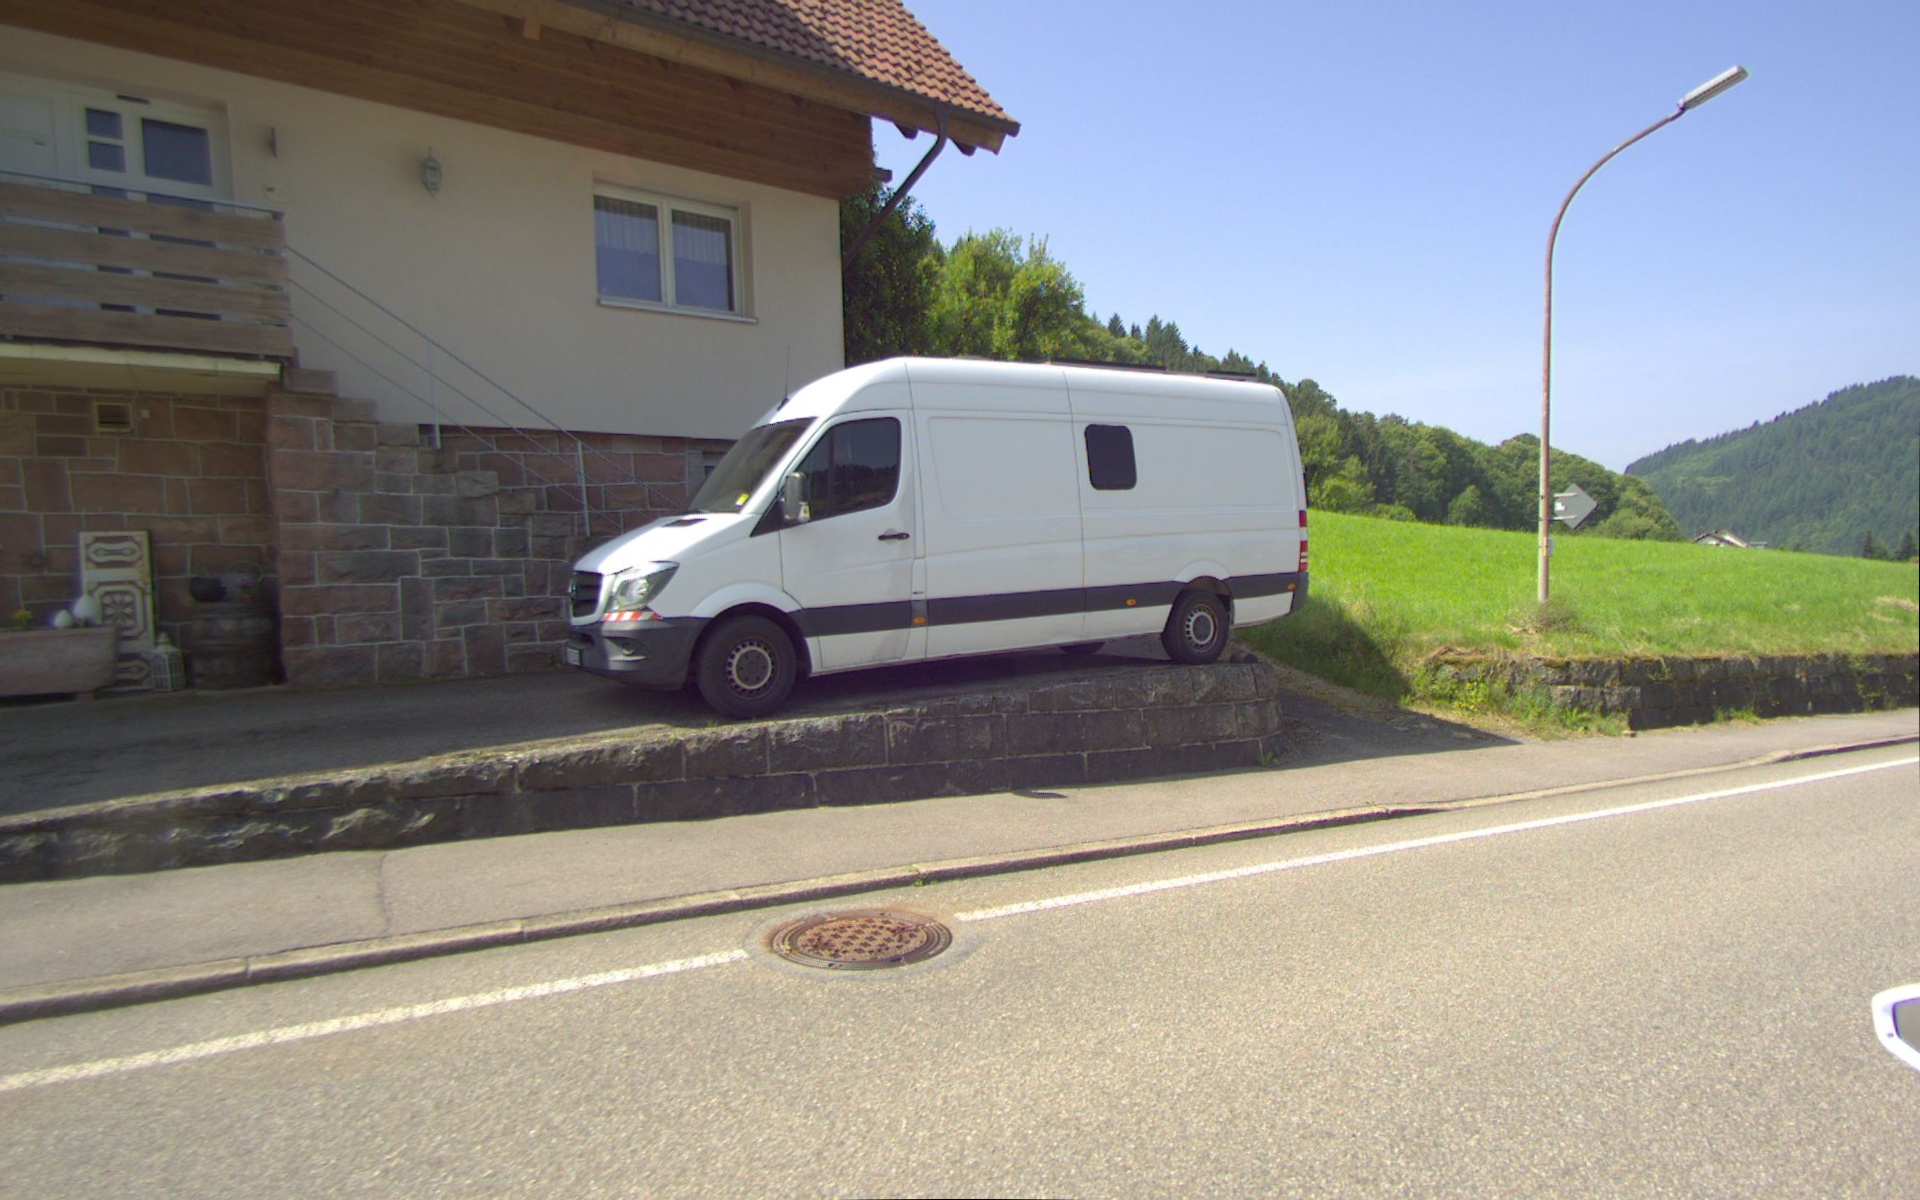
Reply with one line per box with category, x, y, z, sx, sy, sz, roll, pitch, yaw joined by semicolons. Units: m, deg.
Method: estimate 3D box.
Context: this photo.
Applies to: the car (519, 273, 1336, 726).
car;0.135;-0.781;8.844;7.093;2.726;2.056;-3;5;-32
